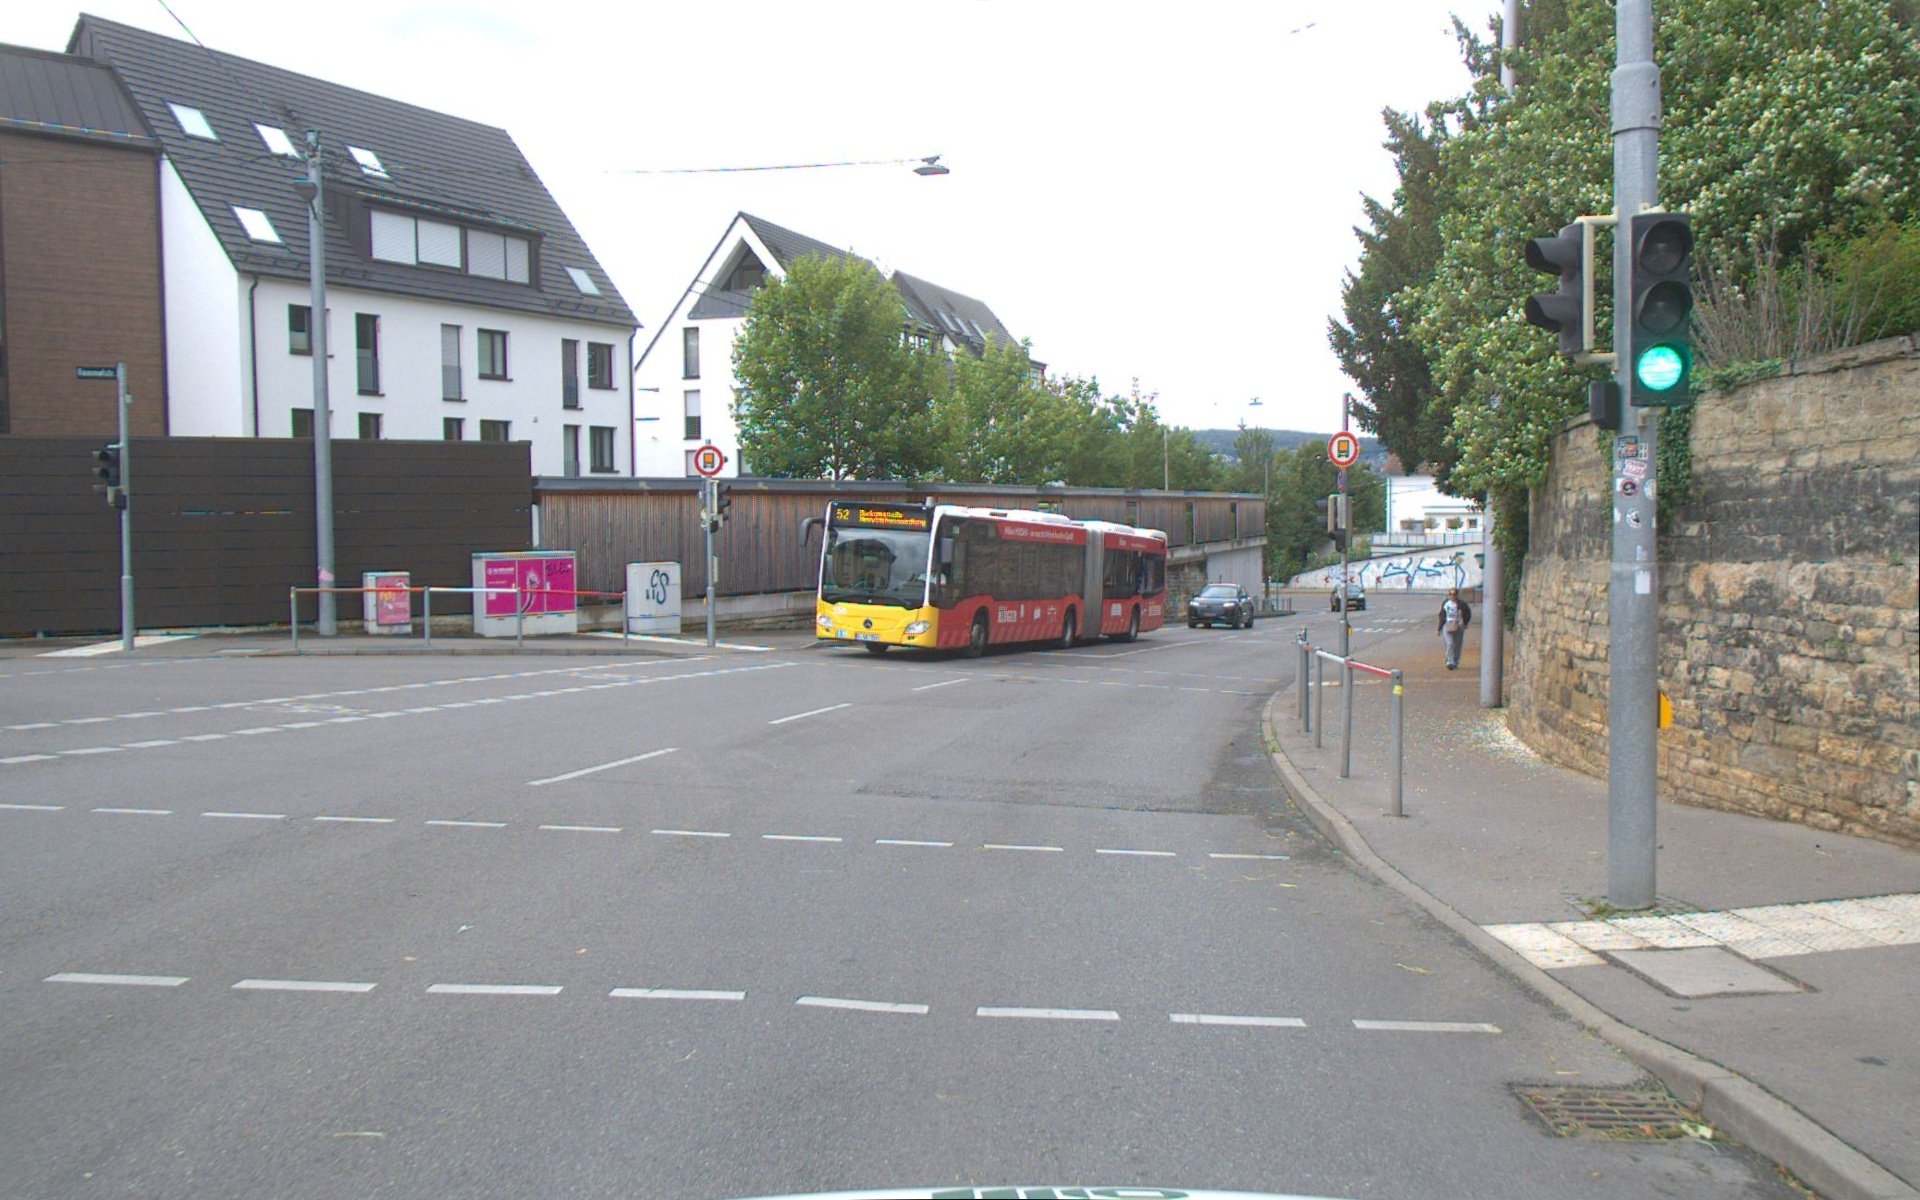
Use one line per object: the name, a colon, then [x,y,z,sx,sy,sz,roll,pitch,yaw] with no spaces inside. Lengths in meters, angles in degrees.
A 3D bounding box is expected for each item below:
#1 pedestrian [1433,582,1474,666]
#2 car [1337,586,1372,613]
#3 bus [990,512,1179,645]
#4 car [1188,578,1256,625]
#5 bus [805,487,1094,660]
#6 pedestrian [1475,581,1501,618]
pedestrian: [9.561,0.455,32.040,0.715,1.603,0.744,-1,0,16]
car: [26.079,-0.038,109.166,1.854,1.787,4.439,0,0,19]
bus: [3.529,-0.552,44.432,2.604,3.176,8.292,3,1,22]
car: [10.035,0.052,63.098,1.881,1.658,4.525,2,0,17]
bus: [0.137,-0.529,35.911,2.603,3.176,10.018,2,1,22]
pedestrian: [23.422,-0.016,73.348,0.762,1.615,0.730,-2,1,-29]
